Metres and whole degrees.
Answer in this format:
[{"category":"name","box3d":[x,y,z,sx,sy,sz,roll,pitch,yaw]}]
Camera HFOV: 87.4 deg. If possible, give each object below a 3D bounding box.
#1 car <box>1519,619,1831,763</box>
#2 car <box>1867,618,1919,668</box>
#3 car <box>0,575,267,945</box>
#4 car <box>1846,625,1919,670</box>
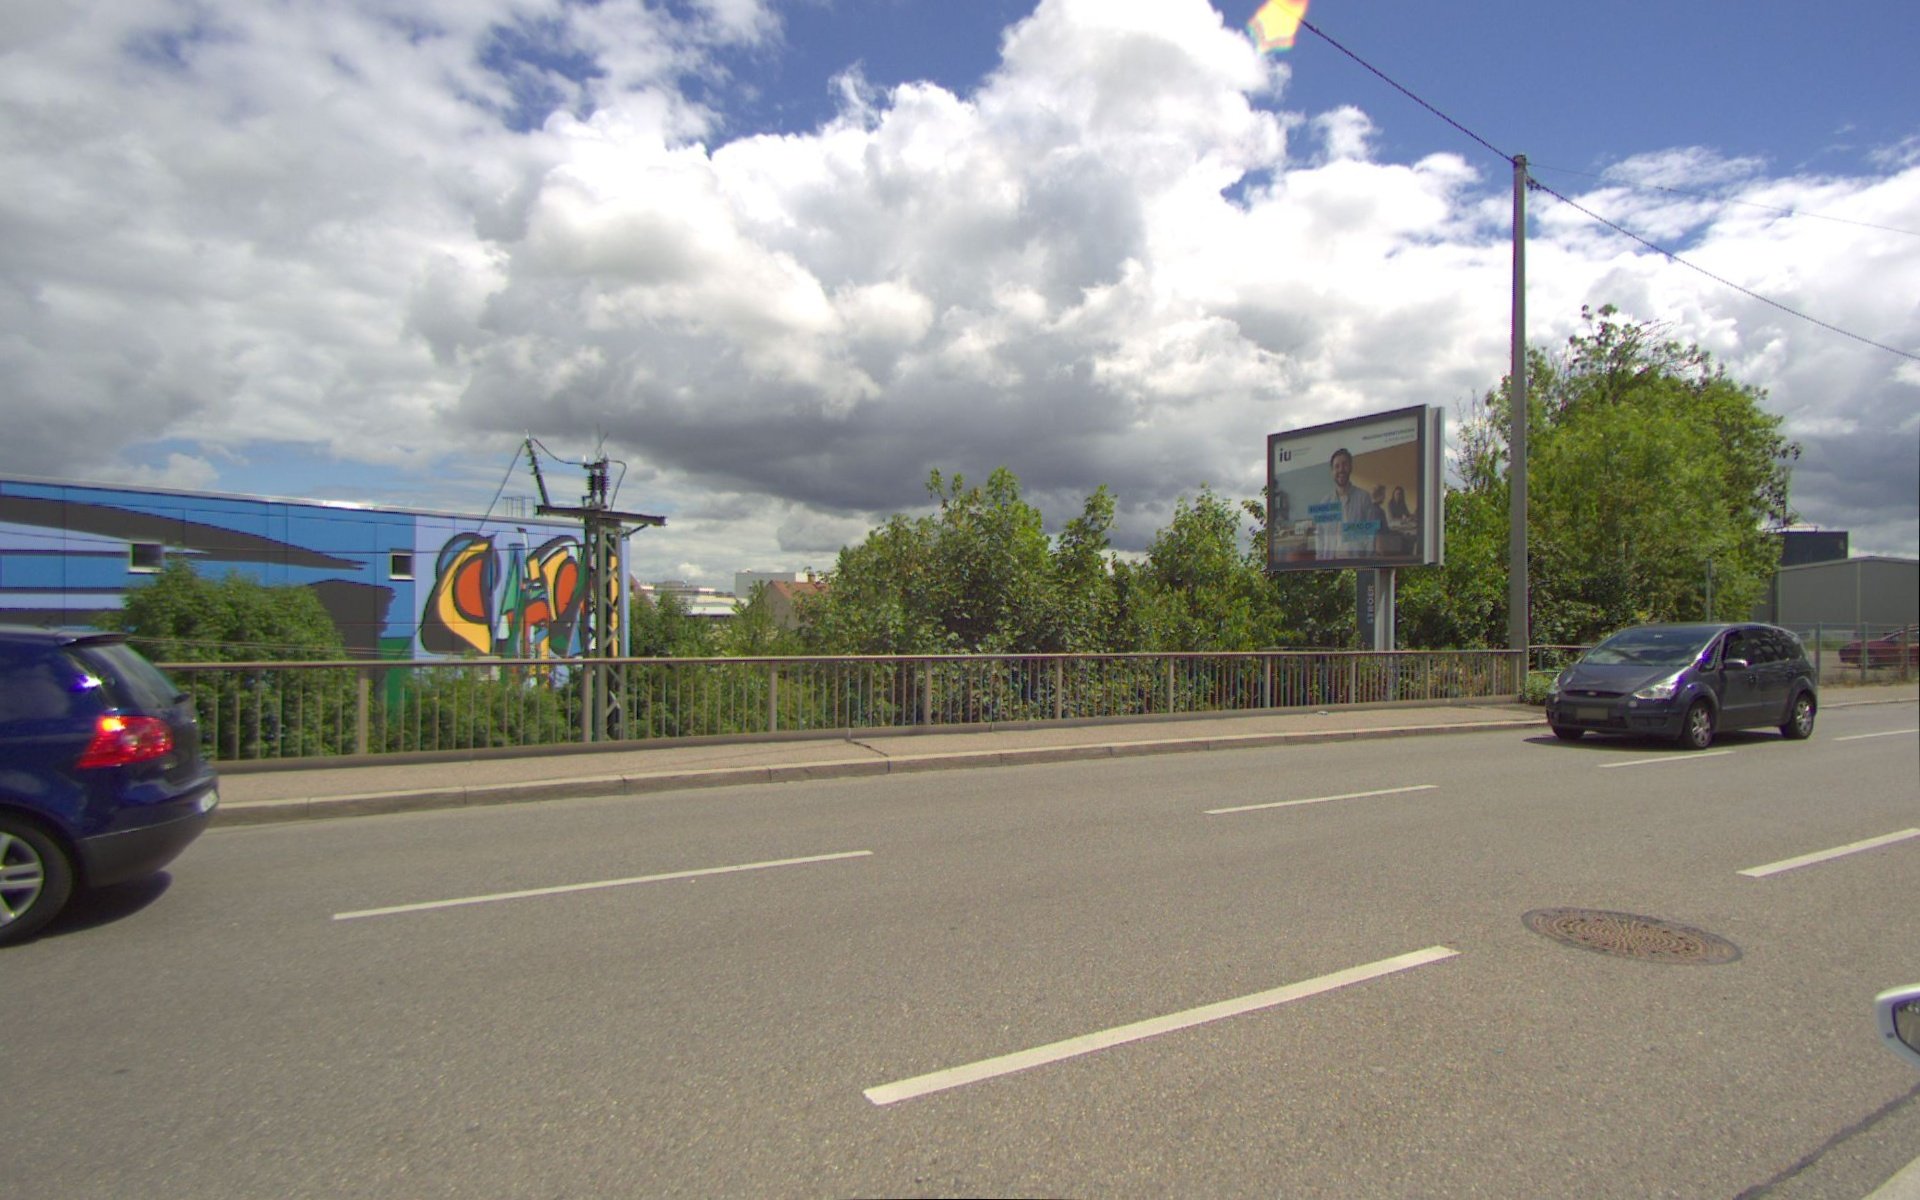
[{"category":"car","box3d":[10.139,1.149,14.175,4.570,1.725,1.903,1,-1,-30]},{"category":"car","box3d":[34.764,1.500,35.212,1.980,1.757,4.076,1,-1,-35]},{"category":"car","box3d":[-5.709,0.698,4.647,3.953,1.639,1.847,1,0,-30]},{"category":"car","box3d":[32.451,1.594,33.725,1.886,1.438,3.821,1,-1,-39]}]
